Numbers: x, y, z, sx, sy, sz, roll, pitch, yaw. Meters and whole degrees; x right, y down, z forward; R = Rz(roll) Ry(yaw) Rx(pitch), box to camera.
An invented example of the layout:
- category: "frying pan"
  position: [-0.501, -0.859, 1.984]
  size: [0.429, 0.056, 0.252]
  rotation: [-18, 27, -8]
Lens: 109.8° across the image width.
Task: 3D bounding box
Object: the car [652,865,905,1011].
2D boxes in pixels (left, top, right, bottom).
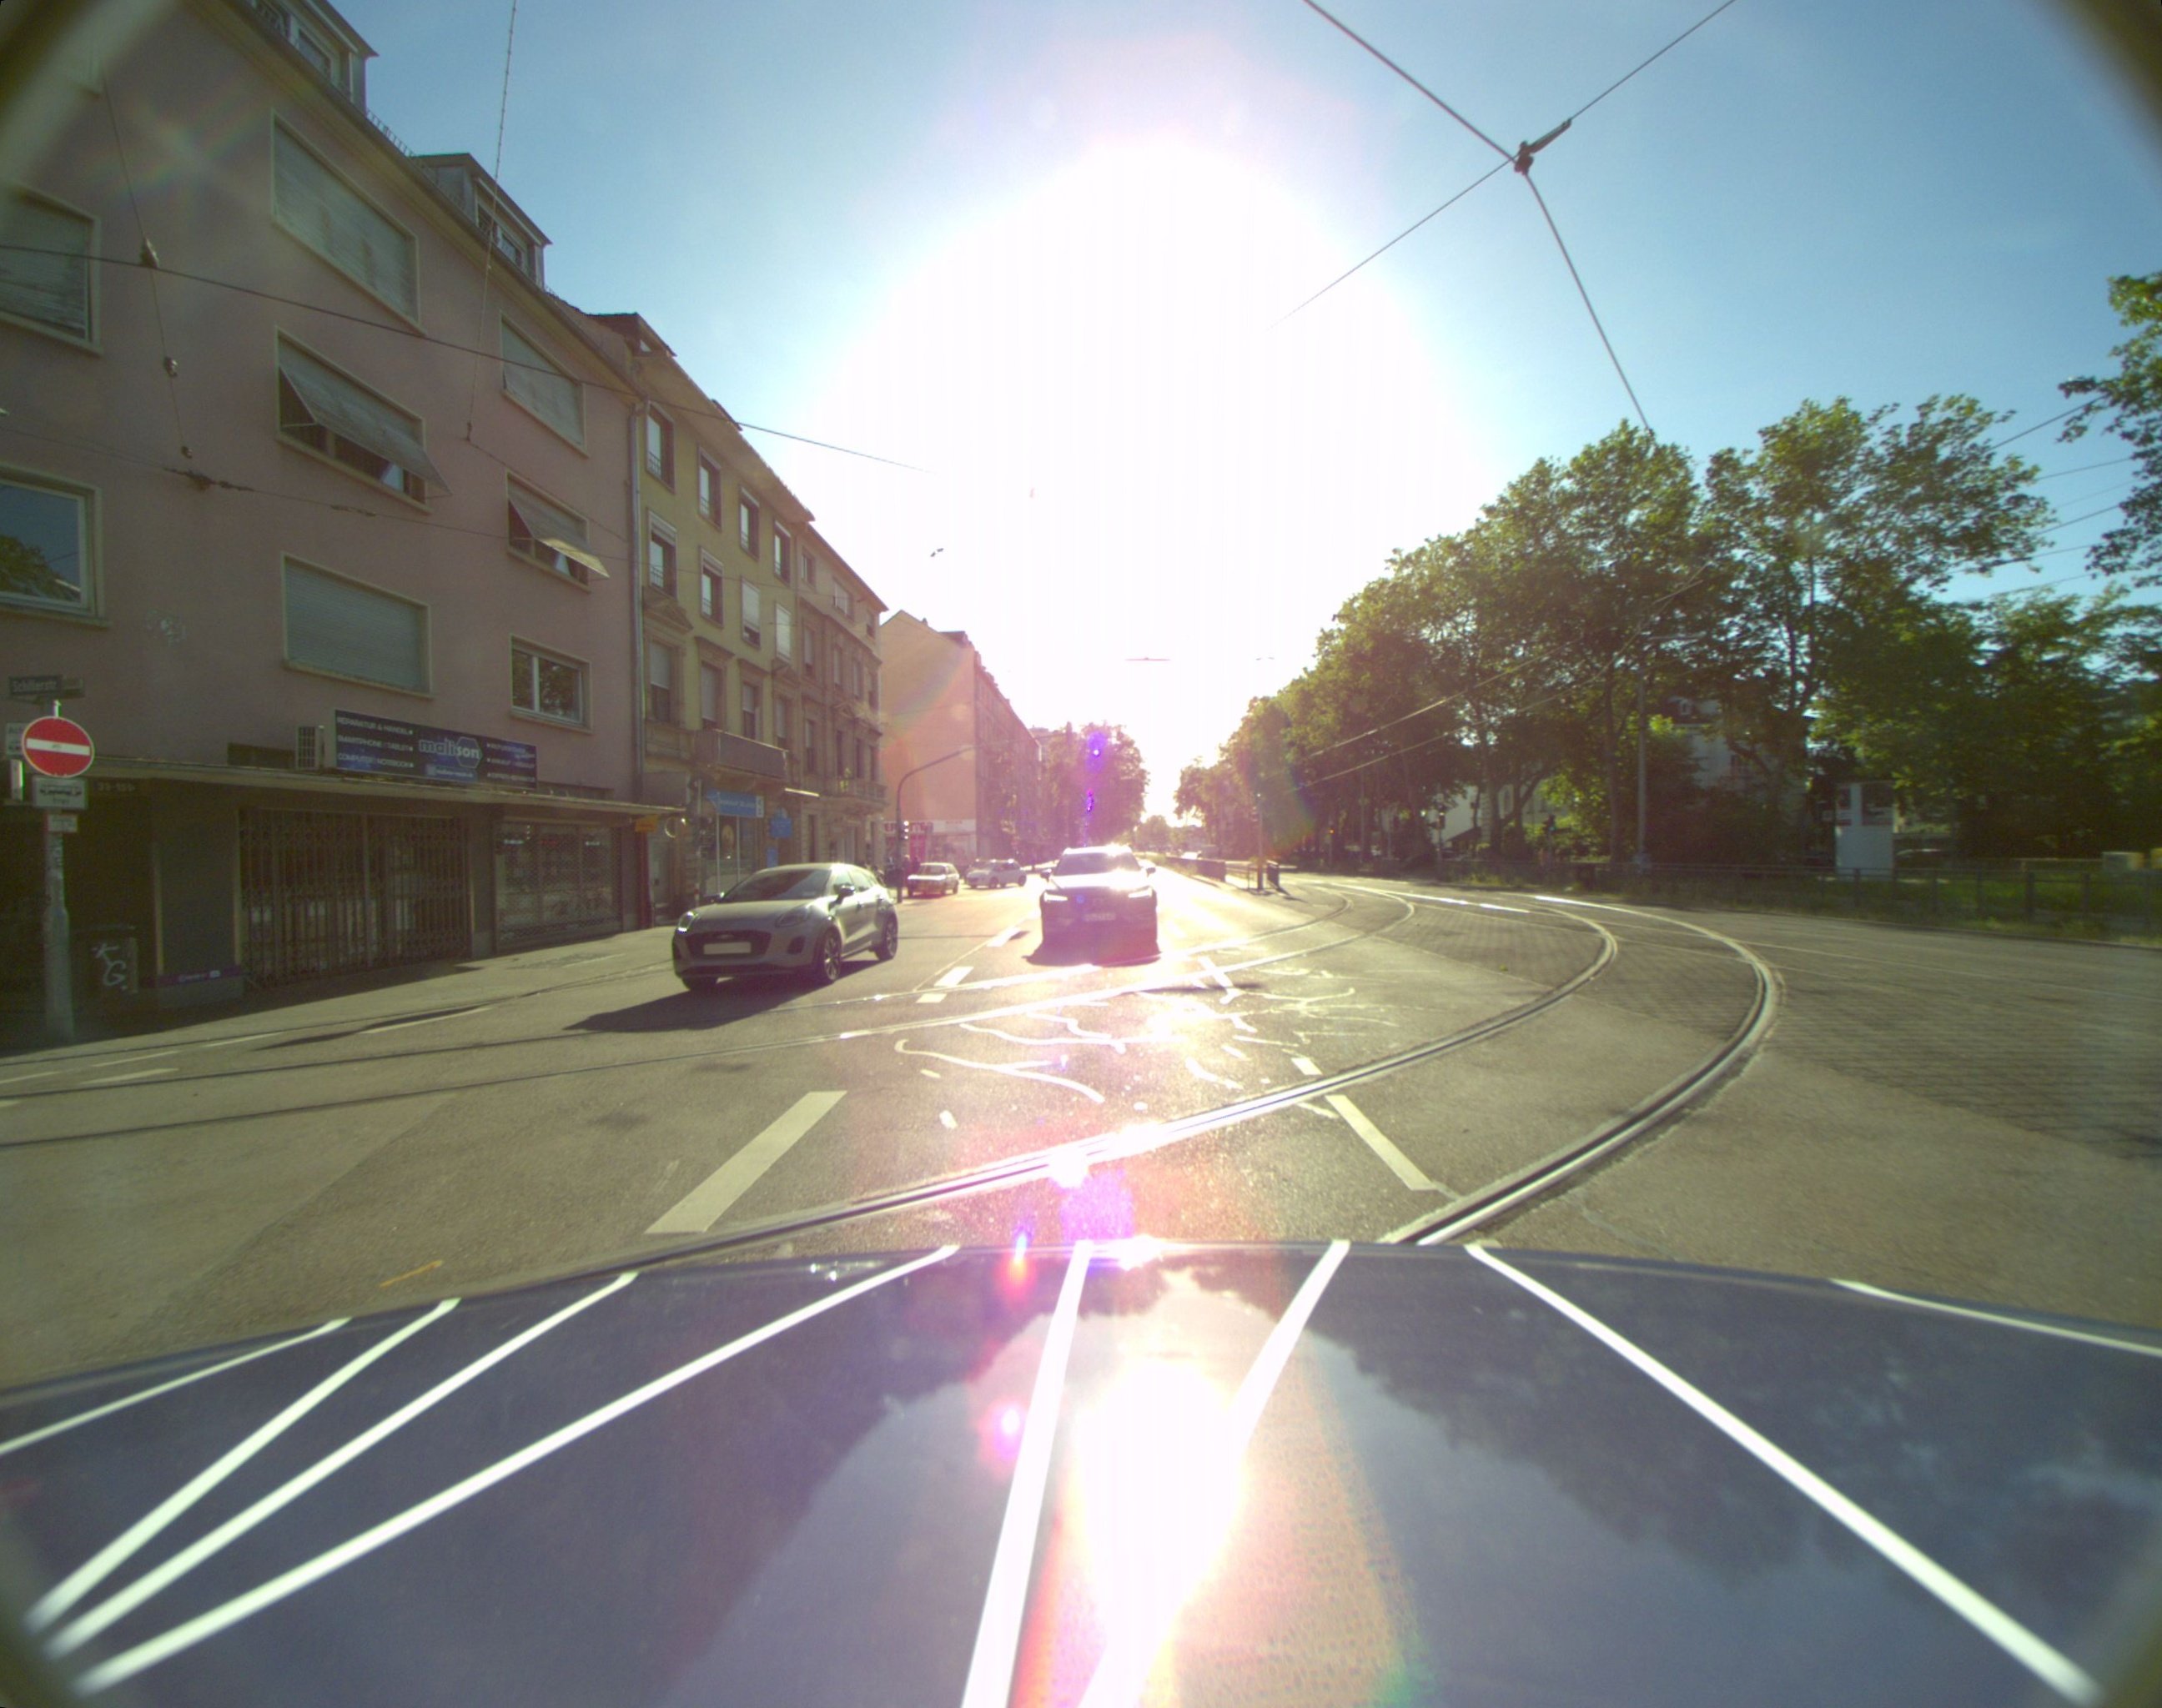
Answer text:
- category: "car"
  position: [-3.787, 0.960, 10.343]
  size: [1.659, 1.473, 3.972]
  rotation: [-3, 0, 2]

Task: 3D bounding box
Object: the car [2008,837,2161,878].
- category: "car"
  position: [38.341, 0.112, 29.056]
  size: [1.633, 1.388, 3.485]
  rotation: [-3, 0, 5]

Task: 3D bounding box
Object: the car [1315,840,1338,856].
- category: "car"
  position: [29.116, -0.656, 90.167]
  size: [1.745, 1.782, 3.743]
  rotation: [-1, 0, 6]

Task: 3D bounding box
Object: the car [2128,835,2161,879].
- category: "car"
  position: [37.863, 0.088, 24.993]
  size: [1.745, 1.462, 3.741]
  rotation: [-3, 0, 3]

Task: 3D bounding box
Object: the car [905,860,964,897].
- category: "car"
  position: [-6.487, 1.055, 34.114]
  size: [1.738, 1.510, 4.000]
  rotation: [1, 0, 2]

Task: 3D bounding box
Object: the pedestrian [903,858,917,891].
- category: "pedestrian"
  position: [-9.185, 1.074, 40.854]
  size: [0.495, 1.752, 0.660]
  rotation: [-1, 1, 2]

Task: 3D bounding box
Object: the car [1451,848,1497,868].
- category: "car"
  position: [31.325, 0.288, 60.728]
  size: [1.722, 1.462, 3.757]
  rotation: [-3, 0, 1]

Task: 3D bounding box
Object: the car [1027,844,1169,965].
- category: "car"
  position: [0.317, 0.732, 12.980]
  size: [1.968, 1.664, 4.000]
  rotation: [-3, 0, 2]

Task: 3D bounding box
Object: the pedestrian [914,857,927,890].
- category: "pedestrian"
  position: [-8.579, 1.052, 40.694]
  size: [0.495, 1.752, 0.660]
  rotation: [-1, 1, 2]

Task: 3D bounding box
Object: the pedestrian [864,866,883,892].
- category: "pedestrian"
  position: [-9.585, 1.157, 35.174]
  size: [0.658, 1.164, 0.496]
  rotation: [-1, 1, 17]

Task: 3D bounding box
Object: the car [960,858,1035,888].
- category: "car"
  position: [-4.653, 1.040, 42.612]
  size: [1.812, 1.442, 4.008]
  rotation: [-3, 0, 38]

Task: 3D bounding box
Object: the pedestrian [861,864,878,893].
- category: "pedestrian"
  position: [-9.403, 1.063, 33.789]
  size: [0.495, 1.252, 0.660]
  rotation: [-1, 1, 5]
